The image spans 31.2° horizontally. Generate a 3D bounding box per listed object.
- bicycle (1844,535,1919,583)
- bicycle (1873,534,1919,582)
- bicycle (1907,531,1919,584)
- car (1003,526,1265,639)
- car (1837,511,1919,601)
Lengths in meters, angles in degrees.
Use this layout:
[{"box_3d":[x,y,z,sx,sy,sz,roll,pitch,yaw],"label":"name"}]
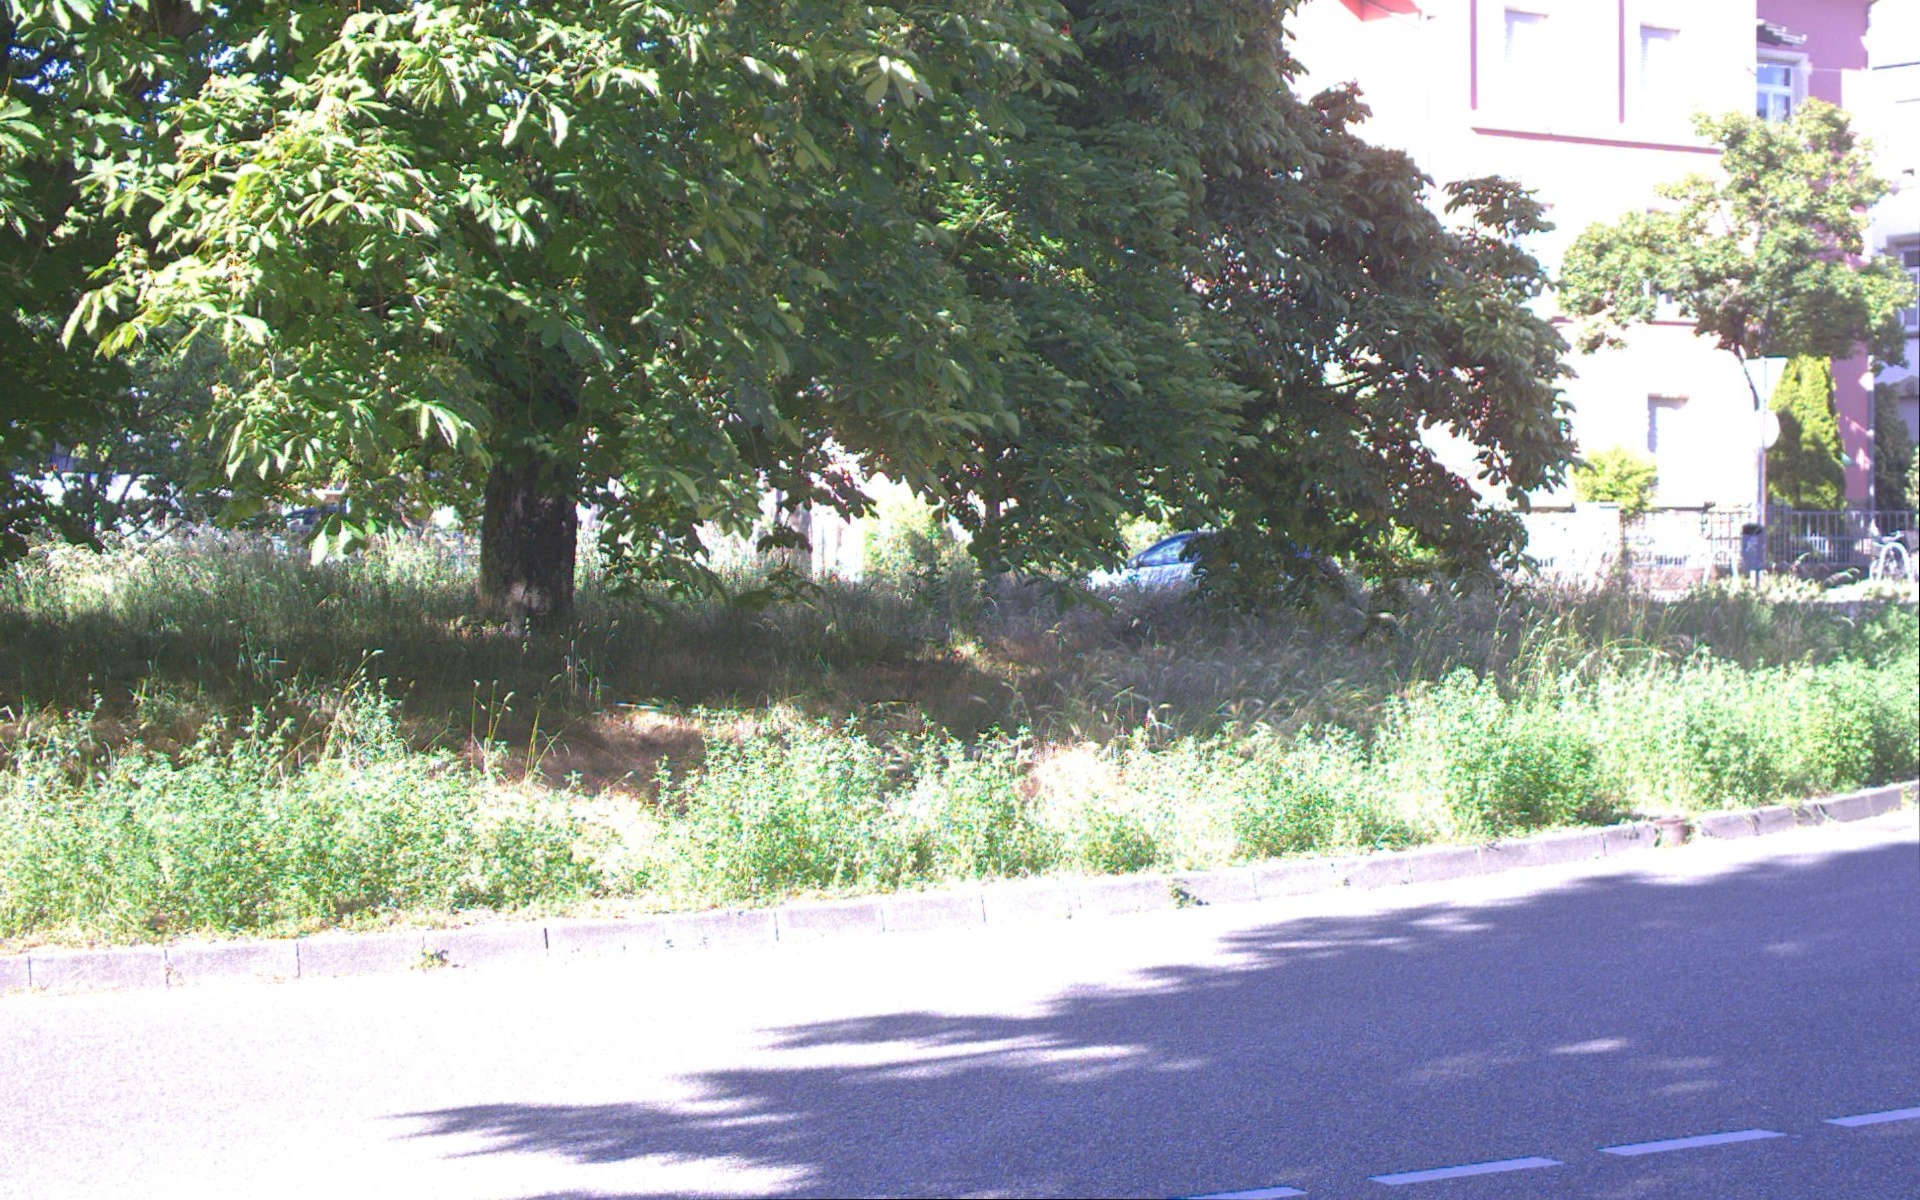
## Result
[{"box_3d":[15.851,-0.704,58.613,0.477,0.797,2.029,-1,1,-19],"label":"bicycle"},{"box_3d":[16.446,-0.725,58.925,0.477,0.797,2.287,-1,1,-14],"label":"bicycle"},{"box_3d":[17.062,-0.726,59.035,0.477,0.911,2.287,-1,1,-14],"label":"bicycle"},{"box_3d":[2.482,-0.277,49.501,3.643,1.546,1.556,1,2,44],"label":"car"},{"box_3d":[15.619,-0.714,53.884,3.634,1.364,1.759,-2,2,-38],"label":"car"}]
